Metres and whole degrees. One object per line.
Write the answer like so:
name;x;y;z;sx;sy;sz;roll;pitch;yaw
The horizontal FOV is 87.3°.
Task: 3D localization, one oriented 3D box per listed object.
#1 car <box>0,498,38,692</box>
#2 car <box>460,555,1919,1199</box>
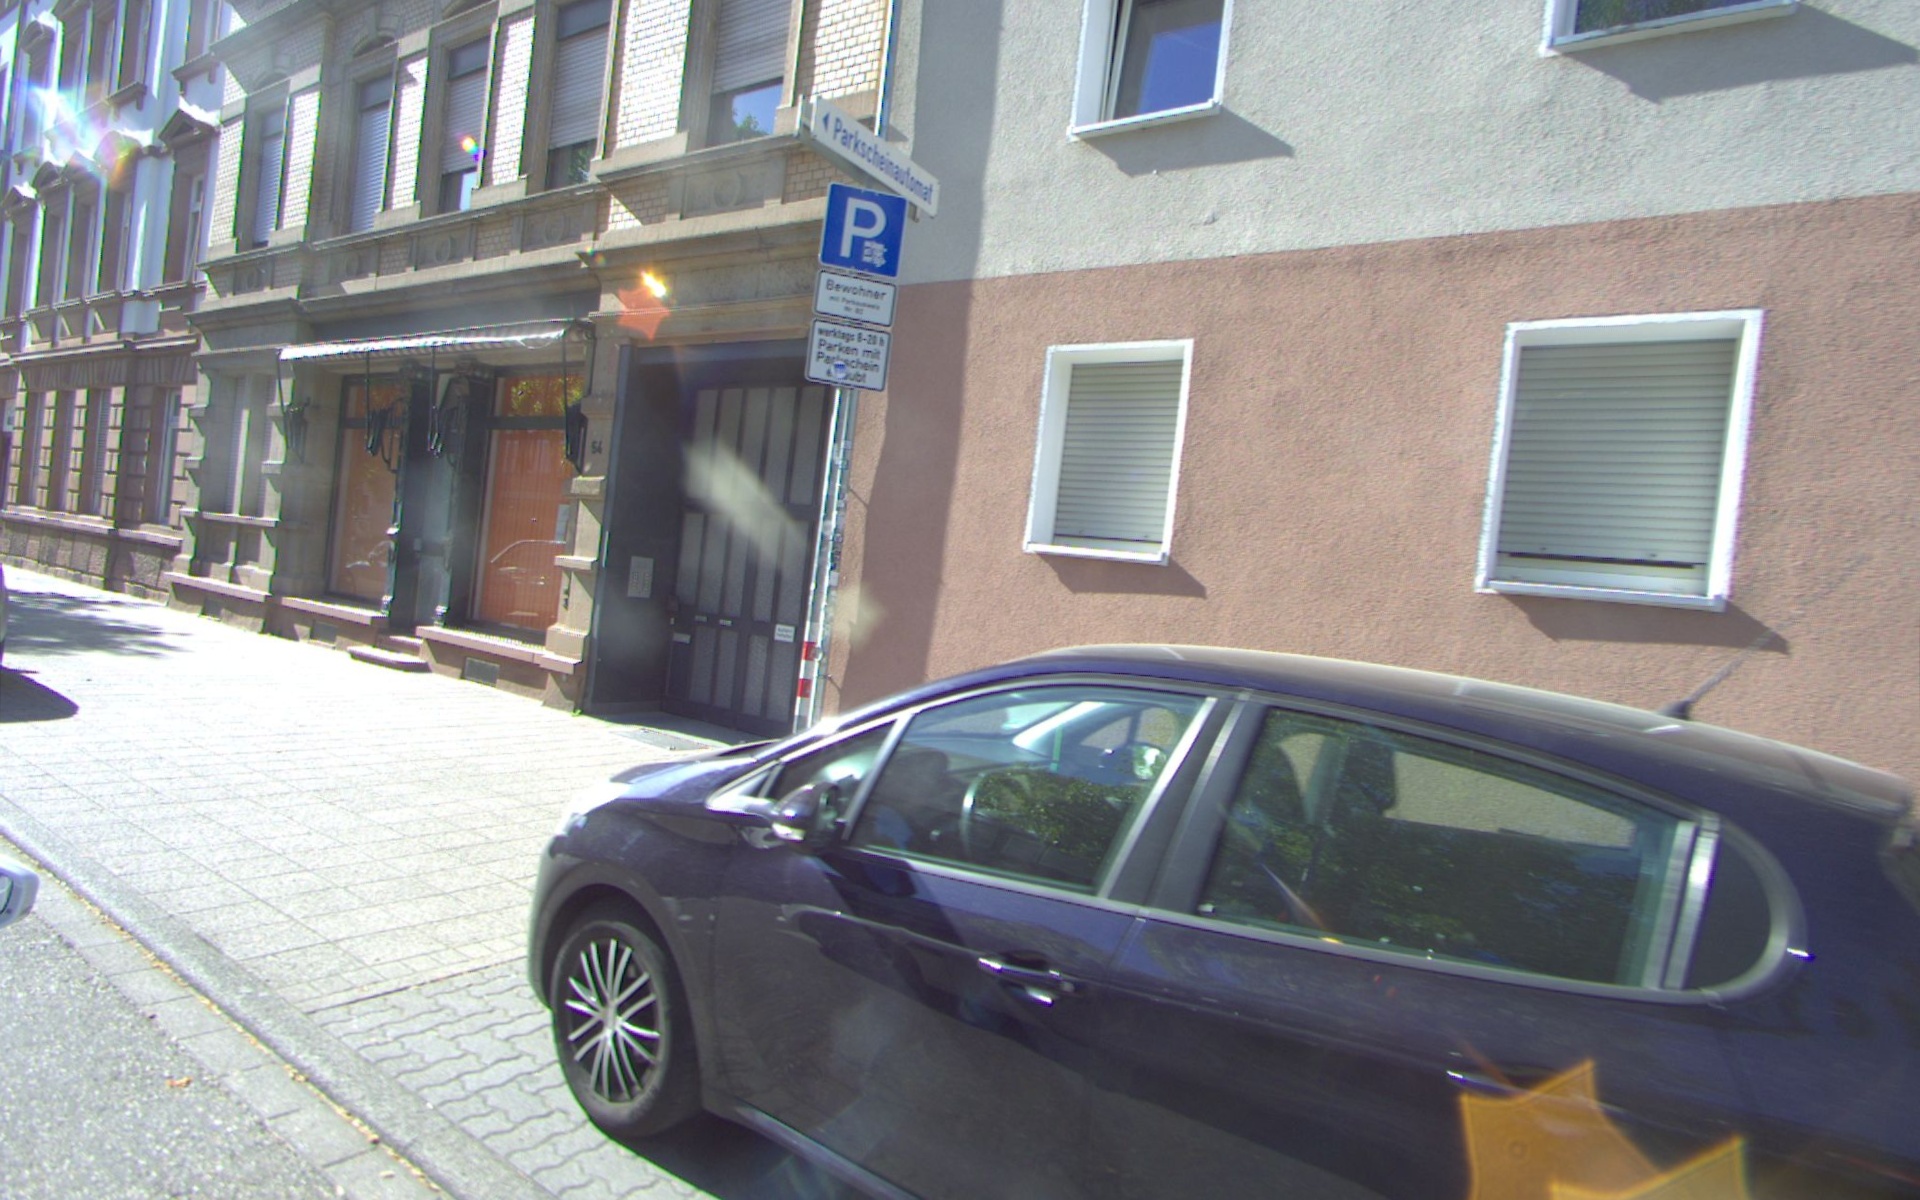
car;-9.326;-0.269;8.159;3.935;1.469;1.740;7;0;33
car;0.595;0.847;2.610;3.651;1.498;1.710;7;0;34
